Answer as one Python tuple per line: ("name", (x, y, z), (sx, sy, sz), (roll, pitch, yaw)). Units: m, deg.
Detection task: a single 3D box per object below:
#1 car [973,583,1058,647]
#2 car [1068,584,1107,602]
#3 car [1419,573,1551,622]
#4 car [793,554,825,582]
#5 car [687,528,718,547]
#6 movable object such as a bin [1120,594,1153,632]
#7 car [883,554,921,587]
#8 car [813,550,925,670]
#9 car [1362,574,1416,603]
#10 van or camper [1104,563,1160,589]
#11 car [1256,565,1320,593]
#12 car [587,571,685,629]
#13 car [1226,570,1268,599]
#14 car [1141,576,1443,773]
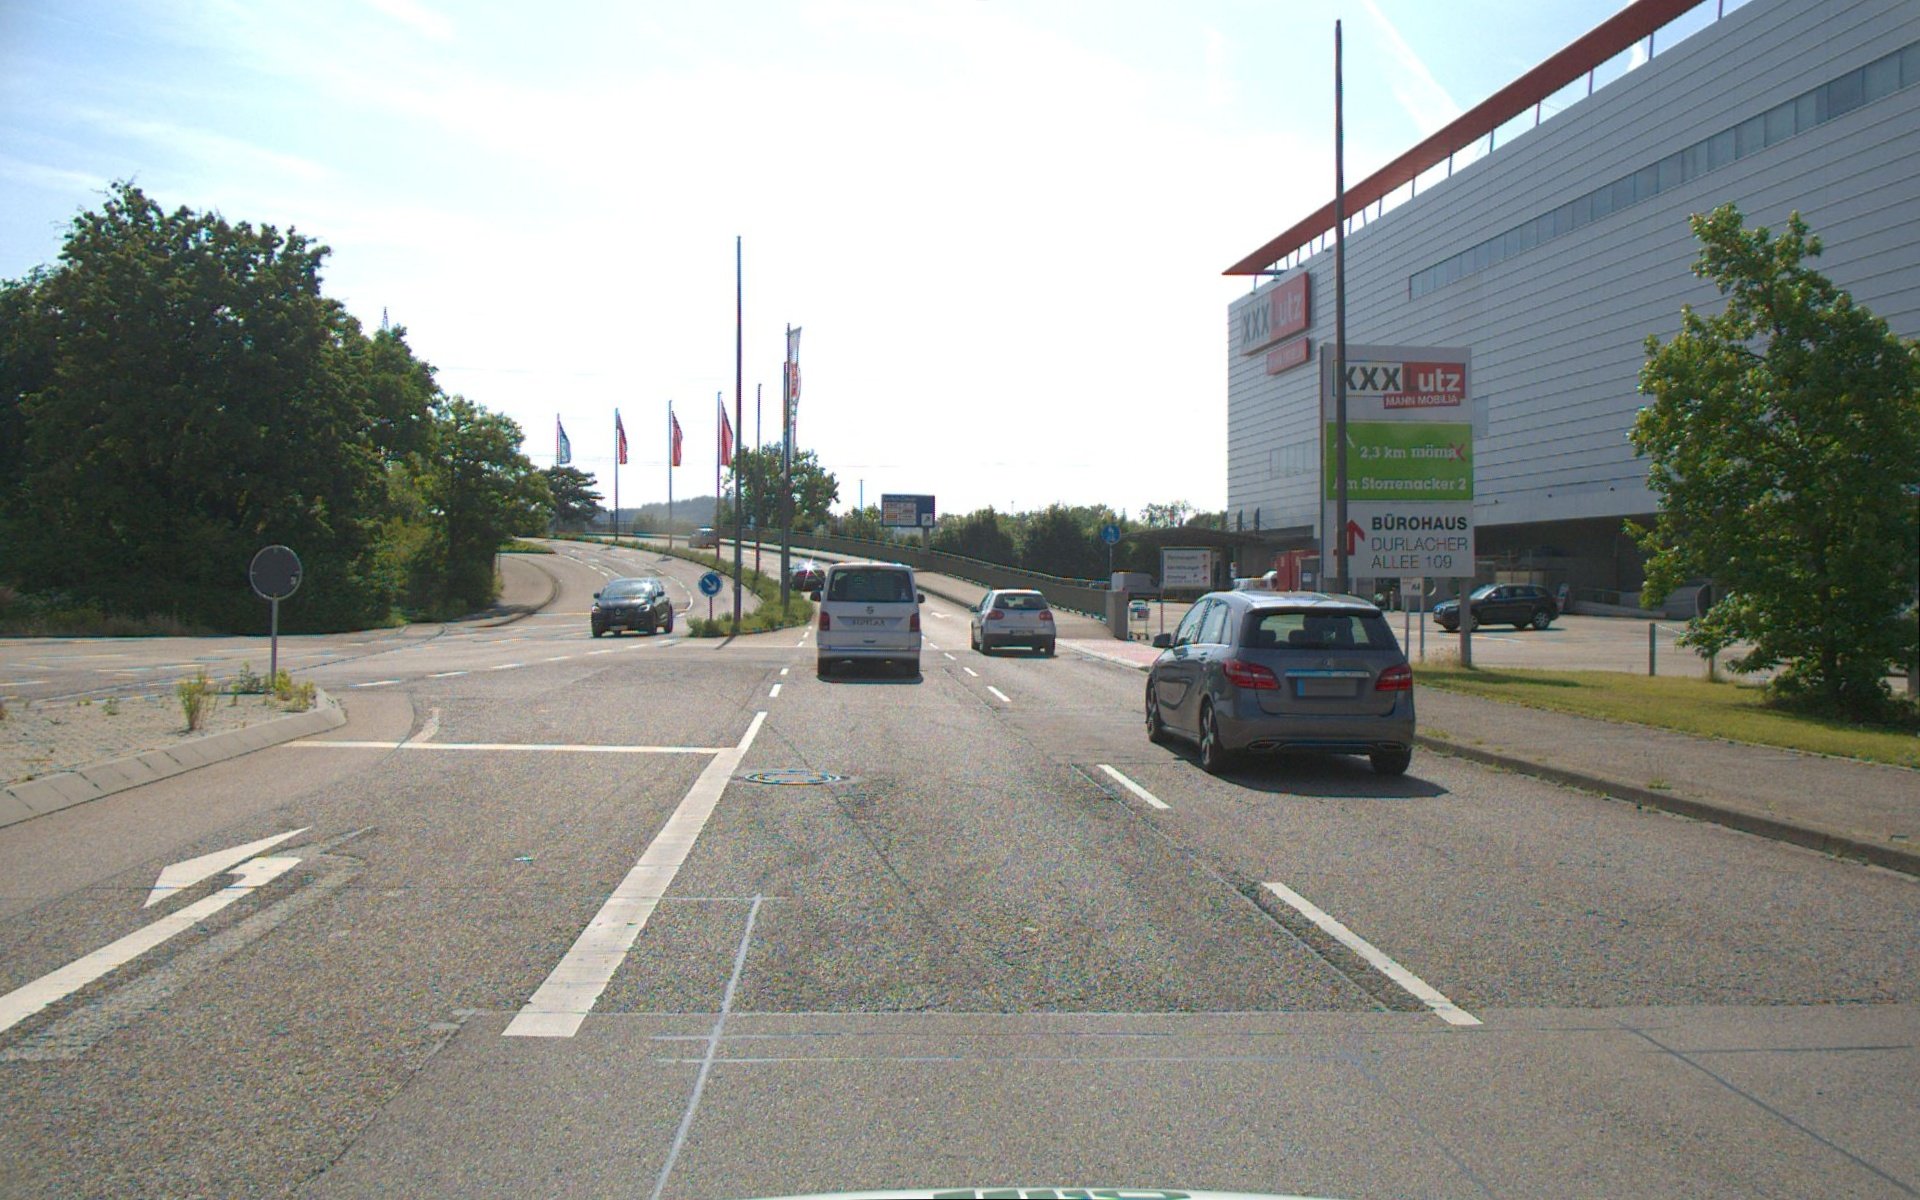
("car", (1.282, 0.322, 39.472), (1.634, 1.439, 3.679), (1, 0, -4))
("car", (10.968, -0.636, 142.324), (1.962, 1.445, 3.980), (3, -1, -17))
("car", (19.508, -0.124, 61.508), (4.342, 1.642, 1.834), (-2, 2, -10))
("car", (-8.496, -1.810, 92.754), (1.503, 1.505, 3.240), (1, 1, -10))
("car", (-21.470, -5.204, 137.815), (1.513, 1.505, 3.395), (1, 0, -27))
("movable object such as a bin", (5.340, 0.386, 50.157), (0.794, 1.133, 1.181), (0, 0, -4))
("car", (-3.028, -1.546, 85.578), (1.503, 1.505, 3.589), (1, 3, -10))
("car", (-1.665, 0.144, 30.374), (1.879, 2.010, 4.295), (1, 1, -3))
("car", (23.911, -0.665, 92.273), (1.640, 1.535, 4.090), (1, 1, -5))
("van or camper", (16.367, -2.244, 156.921), (5.384, 2.216, 2.076), (3, -1, -39))
("car", (23.272, -1.499, 117.501), (4.107, 1.962, 1.774), (1, 1, -6))
("car", (-9.560, -0.022, 49.079), (1.875, 1.634, 4.273), (0, 1, 3))
("car", (18.481, -1.006, 106.660), (1.640, 1.782, 4.090), (1, 1, -5))
("car", (2.912, 0.592, 15.410), (1.738, 1.566, 4.135), (1, 0, -4))
